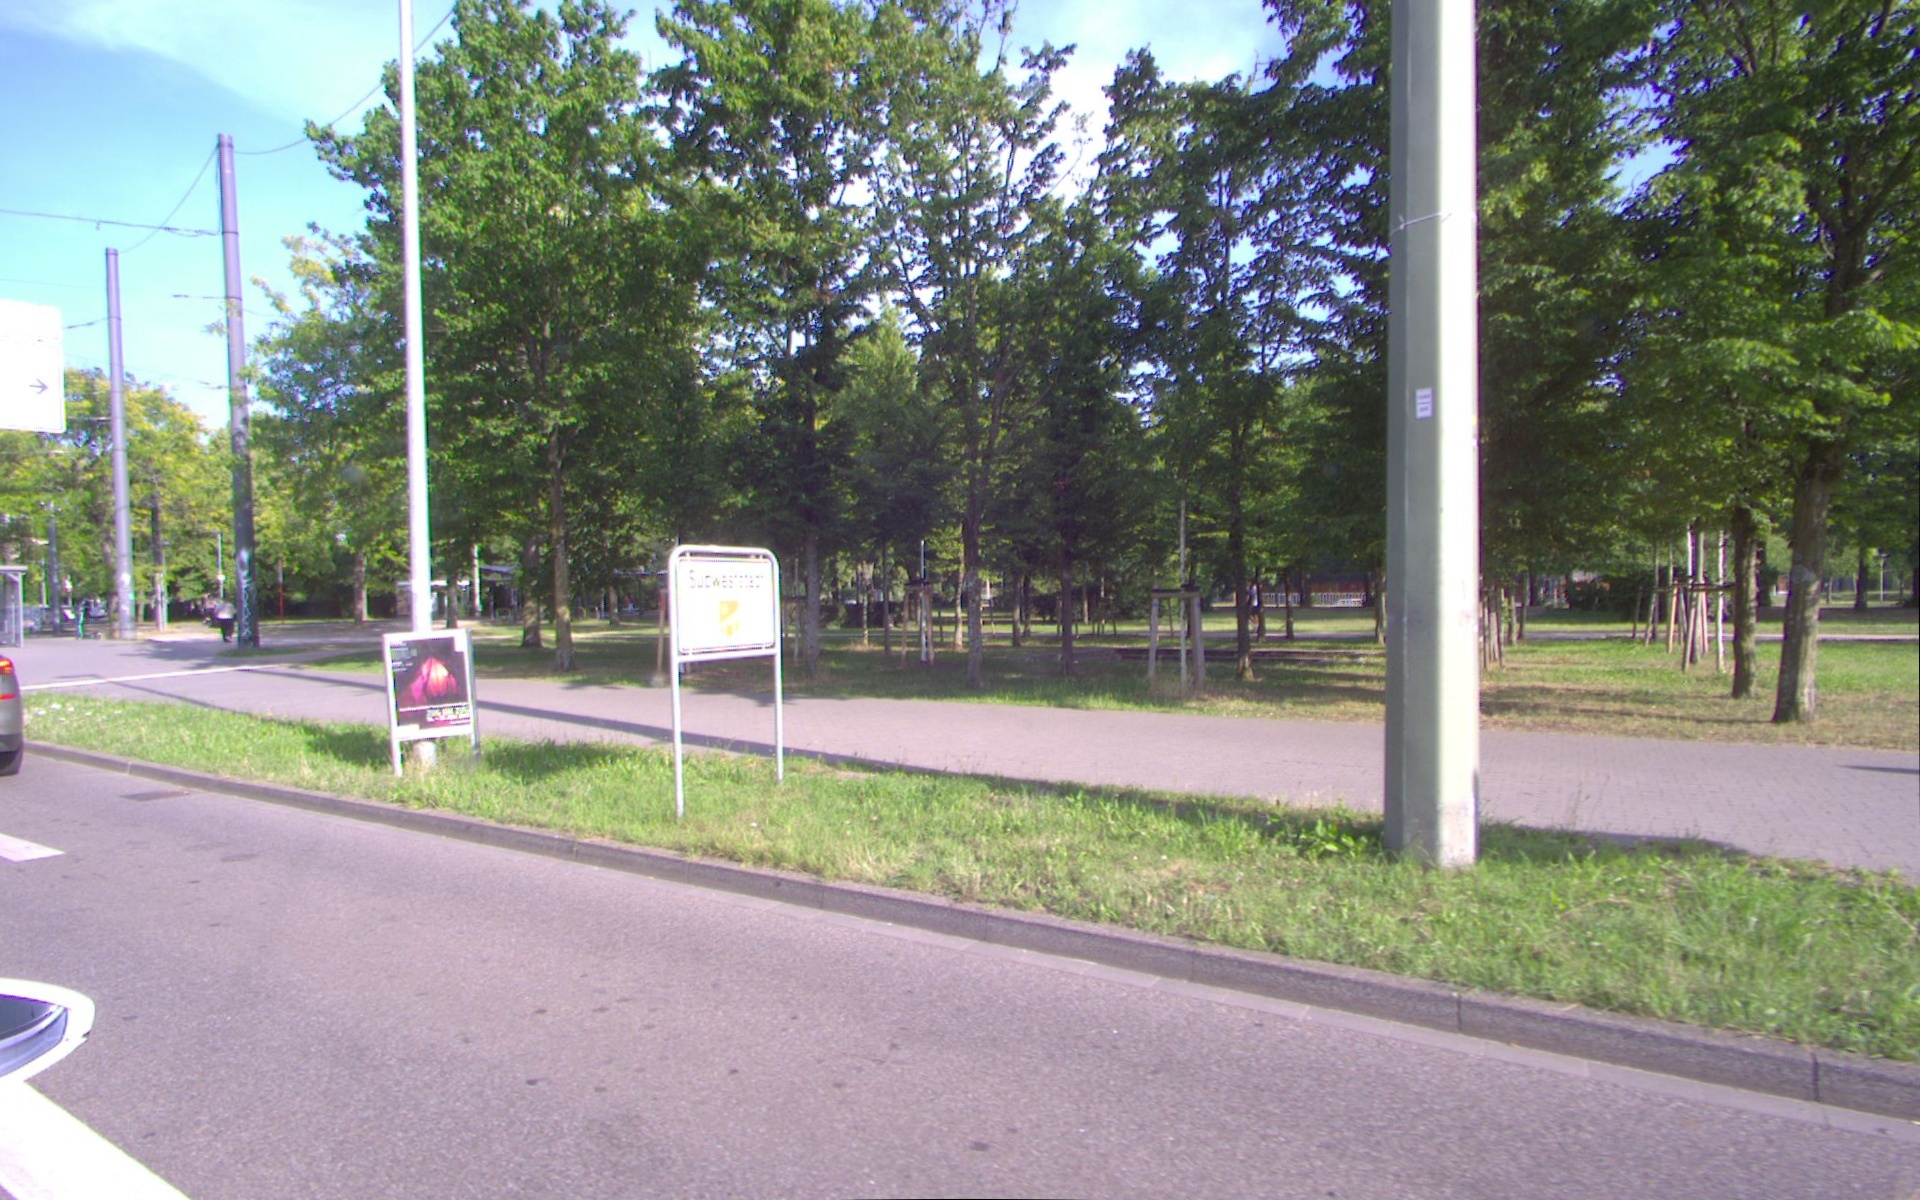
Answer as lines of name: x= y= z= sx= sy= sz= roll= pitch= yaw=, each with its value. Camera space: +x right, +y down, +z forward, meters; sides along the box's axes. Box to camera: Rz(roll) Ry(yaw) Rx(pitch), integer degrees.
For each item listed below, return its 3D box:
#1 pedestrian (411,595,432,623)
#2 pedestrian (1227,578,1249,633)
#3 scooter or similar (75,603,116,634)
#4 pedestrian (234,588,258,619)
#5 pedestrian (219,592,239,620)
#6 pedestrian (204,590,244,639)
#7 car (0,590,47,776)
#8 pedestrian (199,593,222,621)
pedestrian: x=-32.173 y=0.526 z=59.872 sx=0.792 sy=1.659 sz=0.833 roll=0 pitch=2 yaw=38
pedestrian: x=9.350 y=0.176 z=33.690 sx=0.617 sy=1.836 sz=0.502 roll=-1 pitch=1 yaw=6
scooter or similar: x=-32.003 y=0.677 z=37.084 sx=1.305 sy=1.132 sz=0.420 roll=-1 pitch=1 yaw=12
pedestrian: x=-40.900 y=0.201 z=57.400 sx=0.826 sy=1.809 sz=0.798 roll=0 pitch=1 yaw=28
pedestrian: x=-40.637 y=0.316 z=55.670 sx=0.804 sy=1.508 sz=0.696 roll=-2 pitch=1 yaw=-33
pedestrian: x=-25.323 y=0.500 z=34.472 sx=0.793 sy=1.659 sz=0.754 roll=-1 pitch=1 yaw=-7
car: x=-10.489 y=0.776 z=9.432 sx=3.595 sy=1.673 sz=1.880 roll=0 pitch=1 yaw=32
pedestrian: x=-41.677 y=0.370 z=55.685 sx=0.687 sy=1.508 sz=0.815 roll=-1 pitch=1 yaw=-9
